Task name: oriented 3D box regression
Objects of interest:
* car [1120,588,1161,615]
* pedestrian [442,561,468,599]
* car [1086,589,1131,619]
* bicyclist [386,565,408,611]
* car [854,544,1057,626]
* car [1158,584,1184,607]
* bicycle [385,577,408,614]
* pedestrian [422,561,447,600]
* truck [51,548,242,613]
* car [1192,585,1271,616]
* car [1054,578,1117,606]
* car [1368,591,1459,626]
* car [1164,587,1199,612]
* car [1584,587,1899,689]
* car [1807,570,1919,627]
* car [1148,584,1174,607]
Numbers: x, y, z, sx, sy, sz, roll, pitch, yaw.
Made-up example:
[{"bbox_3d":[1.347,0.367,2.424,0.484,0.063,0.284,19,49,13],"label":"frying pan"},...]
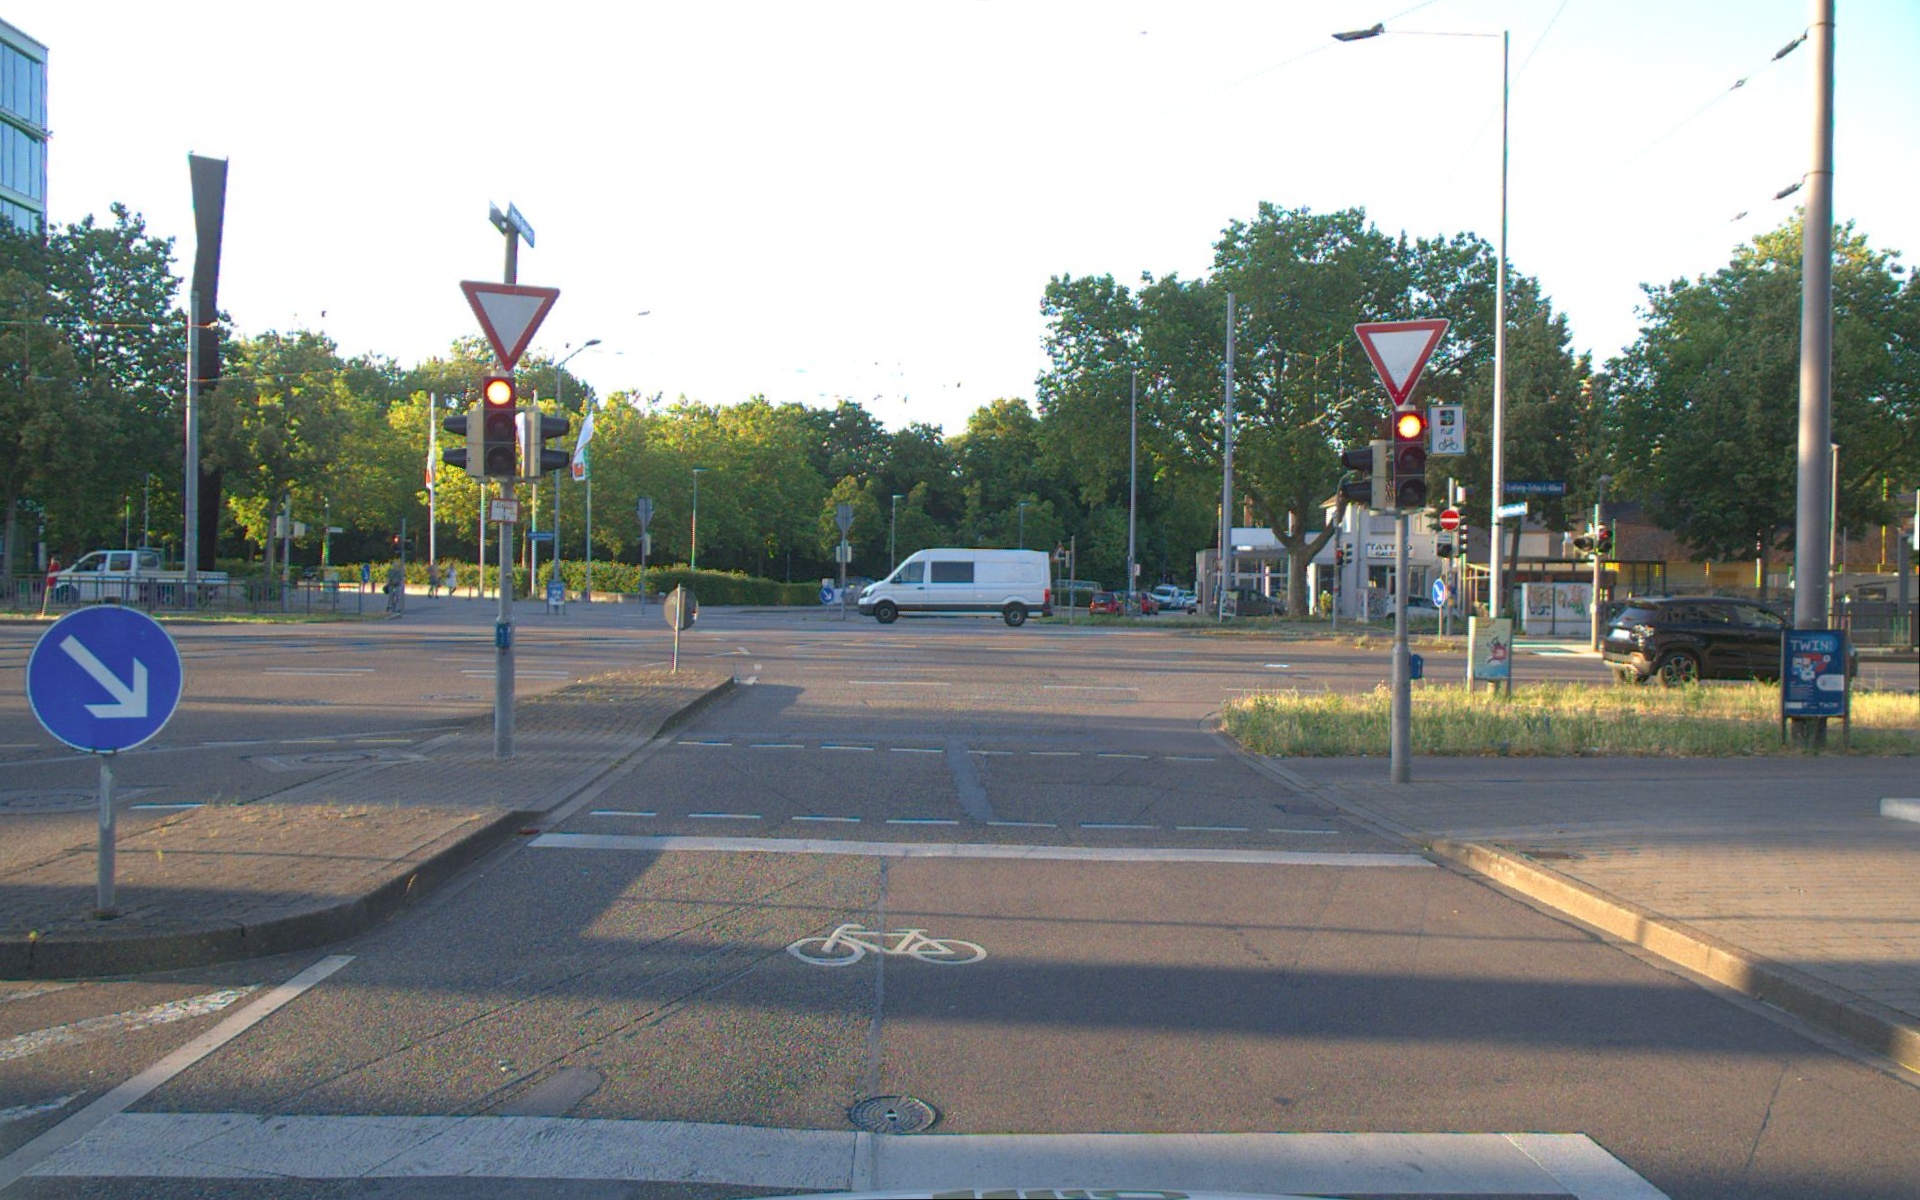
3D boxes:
[{"bbox_3d":[11.322,0.109,103.537,1.951,1.691,4.003,0,-1,14],"label":"car"},{"bbox_3d":[-23.995,-0.954,78.574,0.847,1.774,0.826,1,0,40],"label":"pedestrian"},{"bbox_3d":[8.624,0.234,95.807,1.951,1.691,4.003,0,-1,14],"label":"car"},{"bbox_3d":[-21.400,-0.457,62.878,0.740,1.739,0.913,1,0,-23],"label":"bicyclist"},{"bbox_3d":[-0.160,-0.492,57.063,6.777,2.682,2.811,1,-1,-1],"label":"car"},{"bbox_3d":[17.411,-0.334,136.347,1.823,1.825,4.003,0,-1,12],"label":"car"},{"bbox_3d":[-21.488,-0.193,63.052,0.719,1.364,2.674,1,1,-21],"label":"bicycle"},{"bbox_3d":[-24.688,-0.915,77.751,0.824,1.774,0.849,1,0,-43],"label":"pedestrian"},{"bbox_3d":[-27.715,-0.658,56.474,5.445,2.090,2.067,1,0,-3],"label":"truck"},{"bbox_3d":[14.657,0.037,89.383,4.129,1.579,2.001,1,-1,7],"label":"car"},{"bbox_3d":[9.511,-0.572,126.021,4.675,2.041,2.000,1,-1,1],"label":"car"},{"bbox_3d":[19.880,0.372,72.594,3.659,1.465,1.665,1,-1,9],"label":"car"},{"bbox_3d":[15.558,-0.048,115.829,1.951,1.691,4.003,0,-1,14],"label":"car"},{"bbox_3d":[13.010,0.607,27.702,4.346,1.601,1.999,1,0,-4],"label":"car"},{"bbox_3d":[43.631,-0.068,78.686,5.476,2.596,2.231,1,0,7],"label":"car"},{"bbox_3d":[16.002,-0.345,131.431,1.823,1.825,4.003,1,-1,10],"label":"car"}]
